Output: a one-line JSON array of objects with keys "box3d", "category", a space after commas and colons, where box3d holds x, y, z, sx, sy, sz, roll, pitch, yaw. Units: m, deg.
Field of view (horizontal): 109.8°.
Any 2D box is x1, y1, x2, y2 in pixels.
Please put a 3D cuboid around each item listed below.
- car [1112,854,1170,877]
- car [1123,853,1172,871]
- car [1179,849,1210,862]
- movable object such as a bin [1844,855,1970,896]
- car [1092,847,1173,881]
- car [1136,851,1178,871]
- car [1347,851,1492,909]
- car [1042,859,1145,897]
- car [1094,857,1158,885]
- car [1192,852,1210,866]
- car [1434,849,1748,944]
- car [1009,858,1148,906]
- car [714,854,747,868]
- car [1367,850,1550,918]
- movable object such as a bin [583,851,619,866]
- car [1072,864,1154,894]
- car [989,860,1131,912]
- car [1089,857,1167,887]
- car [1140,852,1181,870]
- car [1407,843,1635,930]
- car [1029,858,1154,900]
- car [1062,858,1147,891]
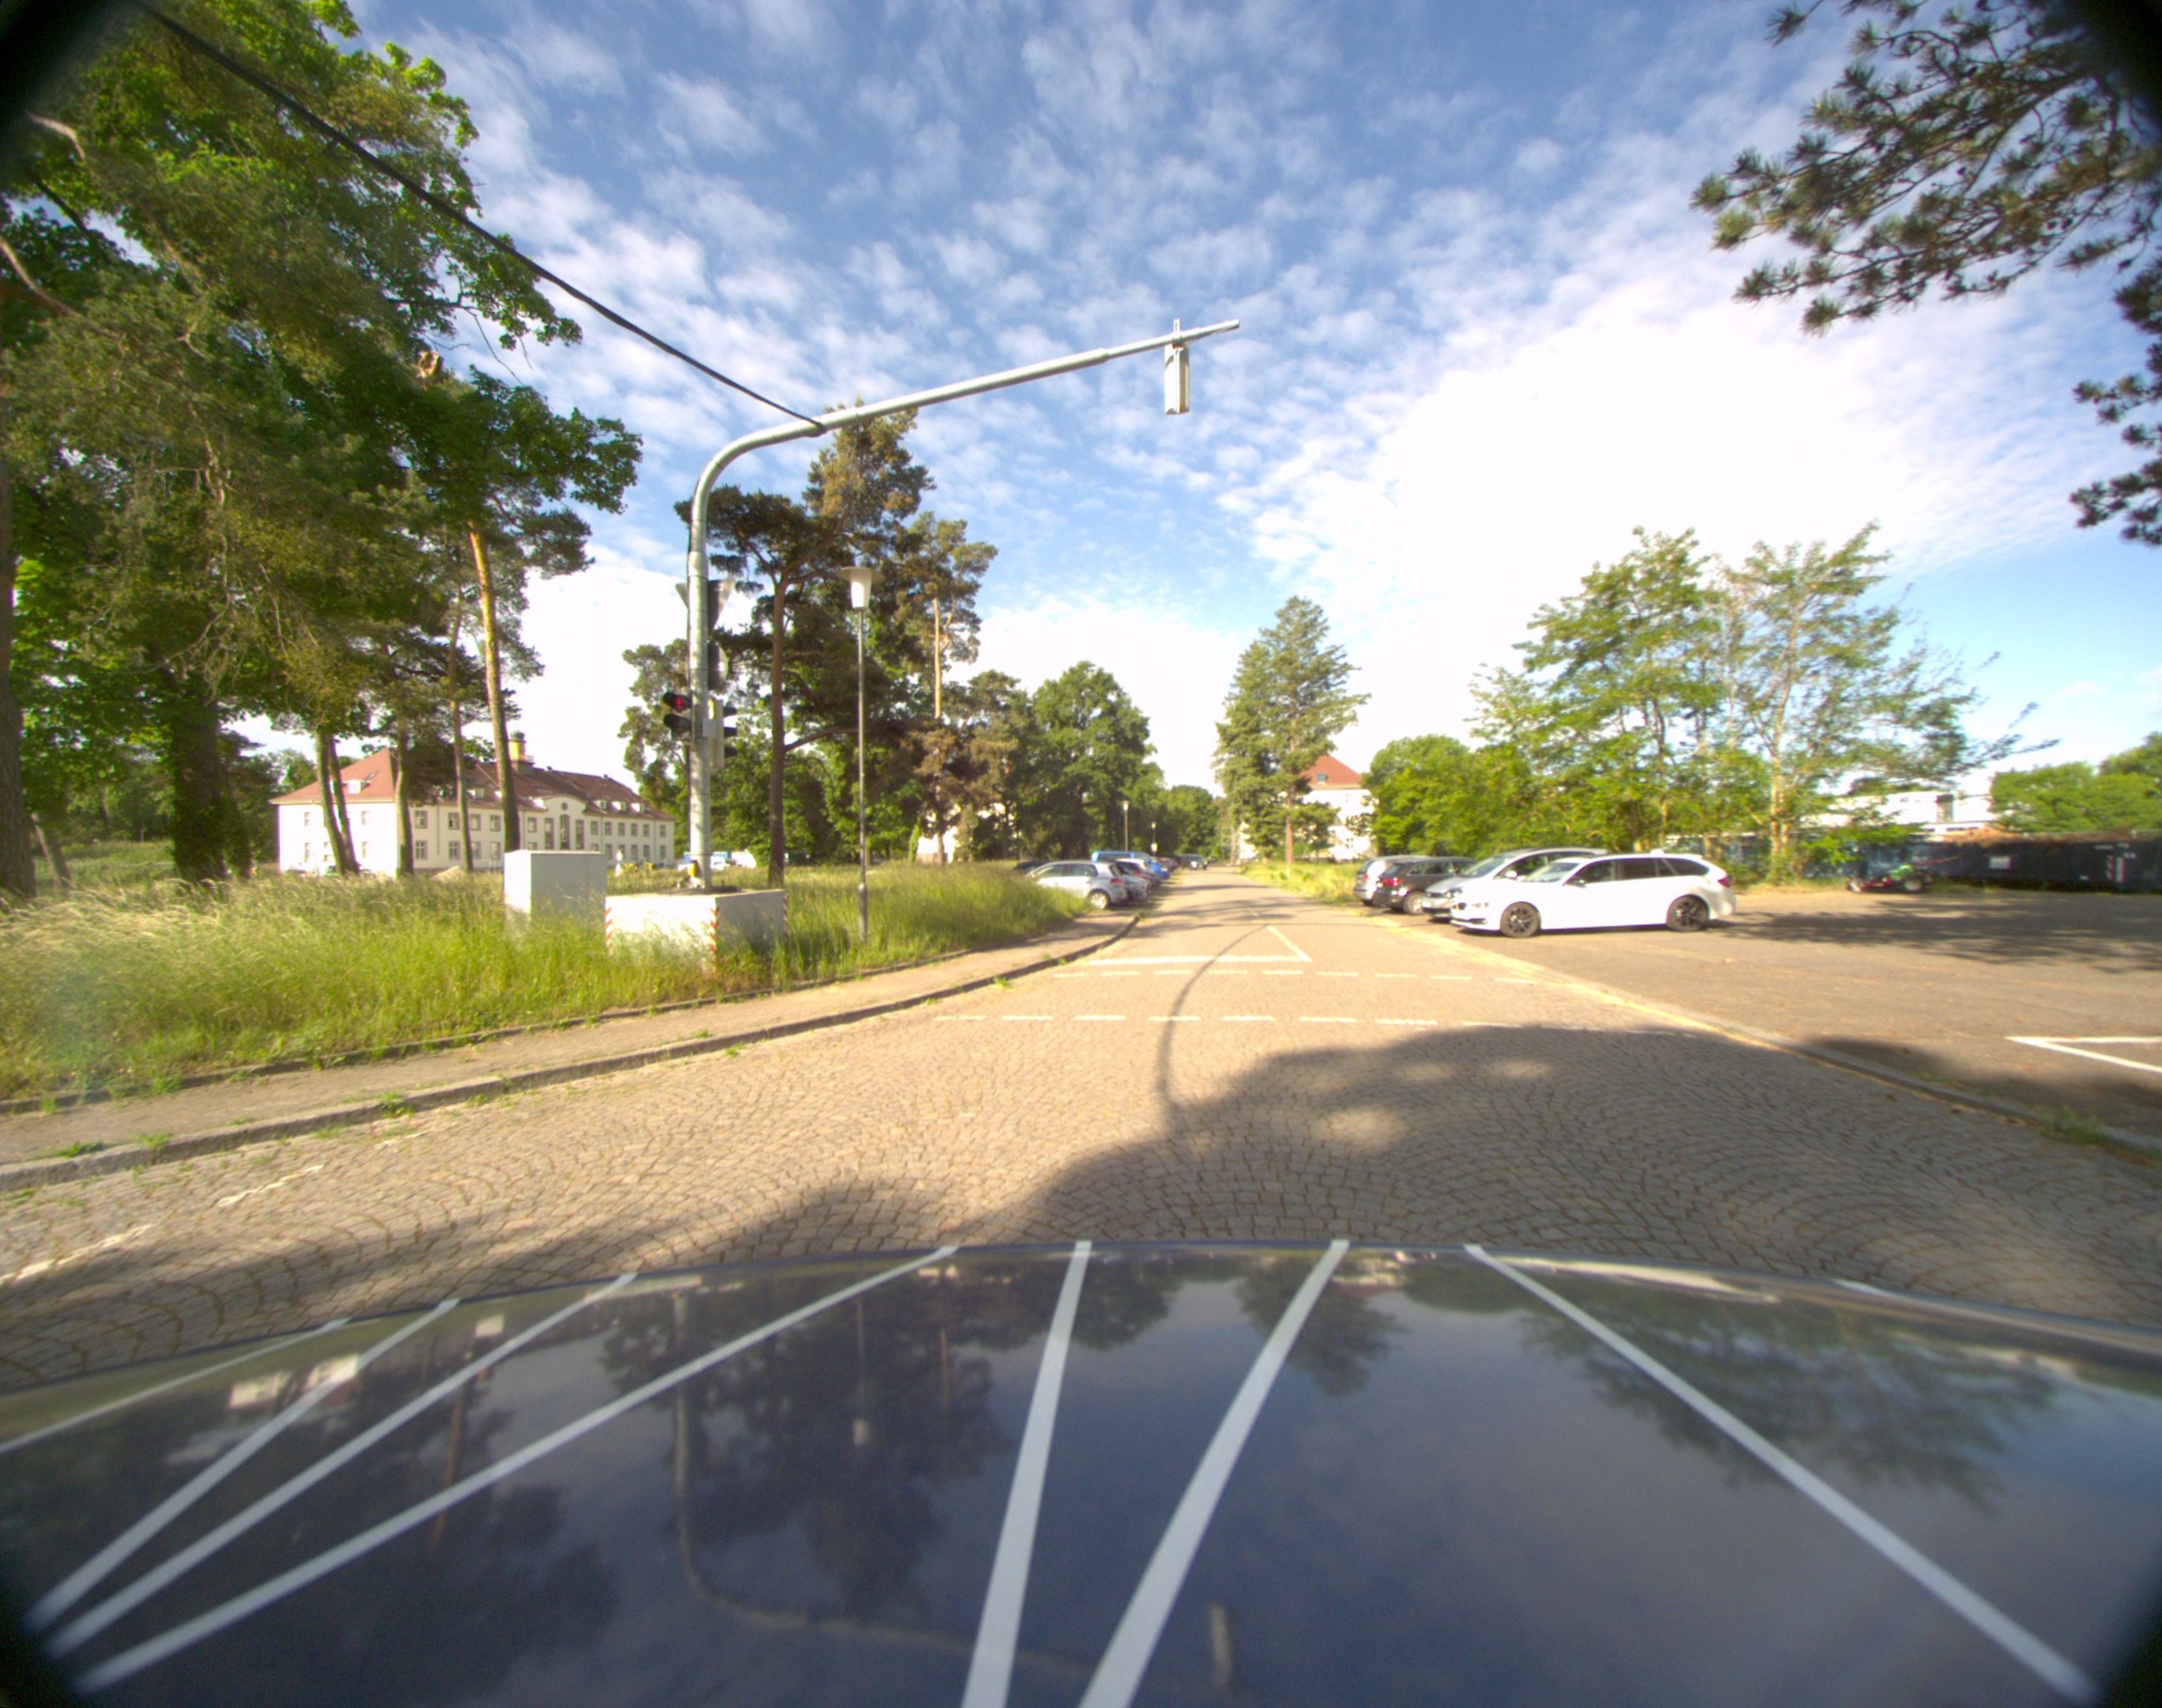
[{"box3d": [4.411, 0.809, 55.248, 3.993, 1.630, 1.758, -1, 1, 12], "category": "car"}, {"box3d": [5.762, 0.696, 65.528, 3.993, 1.509, 1.758, -1, 0, 12], "category": "car"}, {"box3d": [19.051, 0.228, 127.917, 5.064, 2.251, 2.001, -1, 1, 9], "category": "car"}, {"box3d": [23.110, 0.583, 21.305, 2.283, 1.101, 0.998, -1, 1, 7], "category": "movable object such as a bin"}, {"box3d": [3.157, 0.628, 46.392, 4.723, 2.002, 2.001, -1, 1, 10], "category": "car"}, {"box3d": [7.554, 0.690, 75.377, 3.993, 1.731, 1.758, -2, 0, 12], "category": "car"}, {"box3d": [9.804, 0.739, 22.237, 3.472, 1.462, 1.637, -3, 0, 6], "category": "car"}, {"box3d": [0.530, 0.926, 30.449, 3.915, 1.385, 1.662, 1, 1, 8], "category": "car"}, {"box3d": [2.452, 0.907, 41.048, 3.262, 1.482, 1.450, 0, 1, 11], "category": "car"}, {"box3d": [13.720, 0.540, 86.695, 1.866, 1.576, 4.002, -1, 0, 7], "category": "car"}, {"box3d": [9.330, 0.759, 14.246, 4.550, 1.459, 1.753, -3, 0, 6], "category": "car"}, {"box3d": [-0.018, 0.904, 25.455, 4.504, 1.508, 1.827, 1, 1, 5], "category": "car"}, {"box3d": [-51.495, 0.953, 111.704, 1.997, 2.002, 4.776, -1, 0, 10], "category": "car"}, {"box3d": [9.548, 0.750, 19.495, 3.804, 1.462, 1.689, -3, 0, 8], "category": "car"}, {"box3d": [-73.169, 0.632, 115.924, 1.998, 2.309, 4.989, 0, 0, 5], "category": "movable object such as a bin"}, {"box3d": [1.405, 1.064, 32.673, 3.354, 1.248, 1.421, -1, 0, 8], "category": "car"}, {"box3d": [-0.567, 0.924, 22.940, 4.023, 1.452, 1.872, 0, 1, 8], "category": "car"}, {"box3d": [2.358, 0.891, 38.174, 3.618, 1.482, 1.510, 0, 1, 19], "category": "car"}, {"box3d": [8.327, 0.731, 79.830, 3.993, 1.605, 1.758, -3, 1, 13], "category": "car"}, {"box3d": [9.574, 0.681, 16.807, 3.952, 1.616, 1.722, -3, 0, 4], "category": "car"}, {"box3d": [0.437, 0.880, 28.206, 4.419, 1.394, 1.827, 1, 1, 8], "category": "car"}, {"box3d": [1.141, 0.931, 35.319, 3.776, 1.482, 1.550, -1, 1, 8], "category": "car"}]
